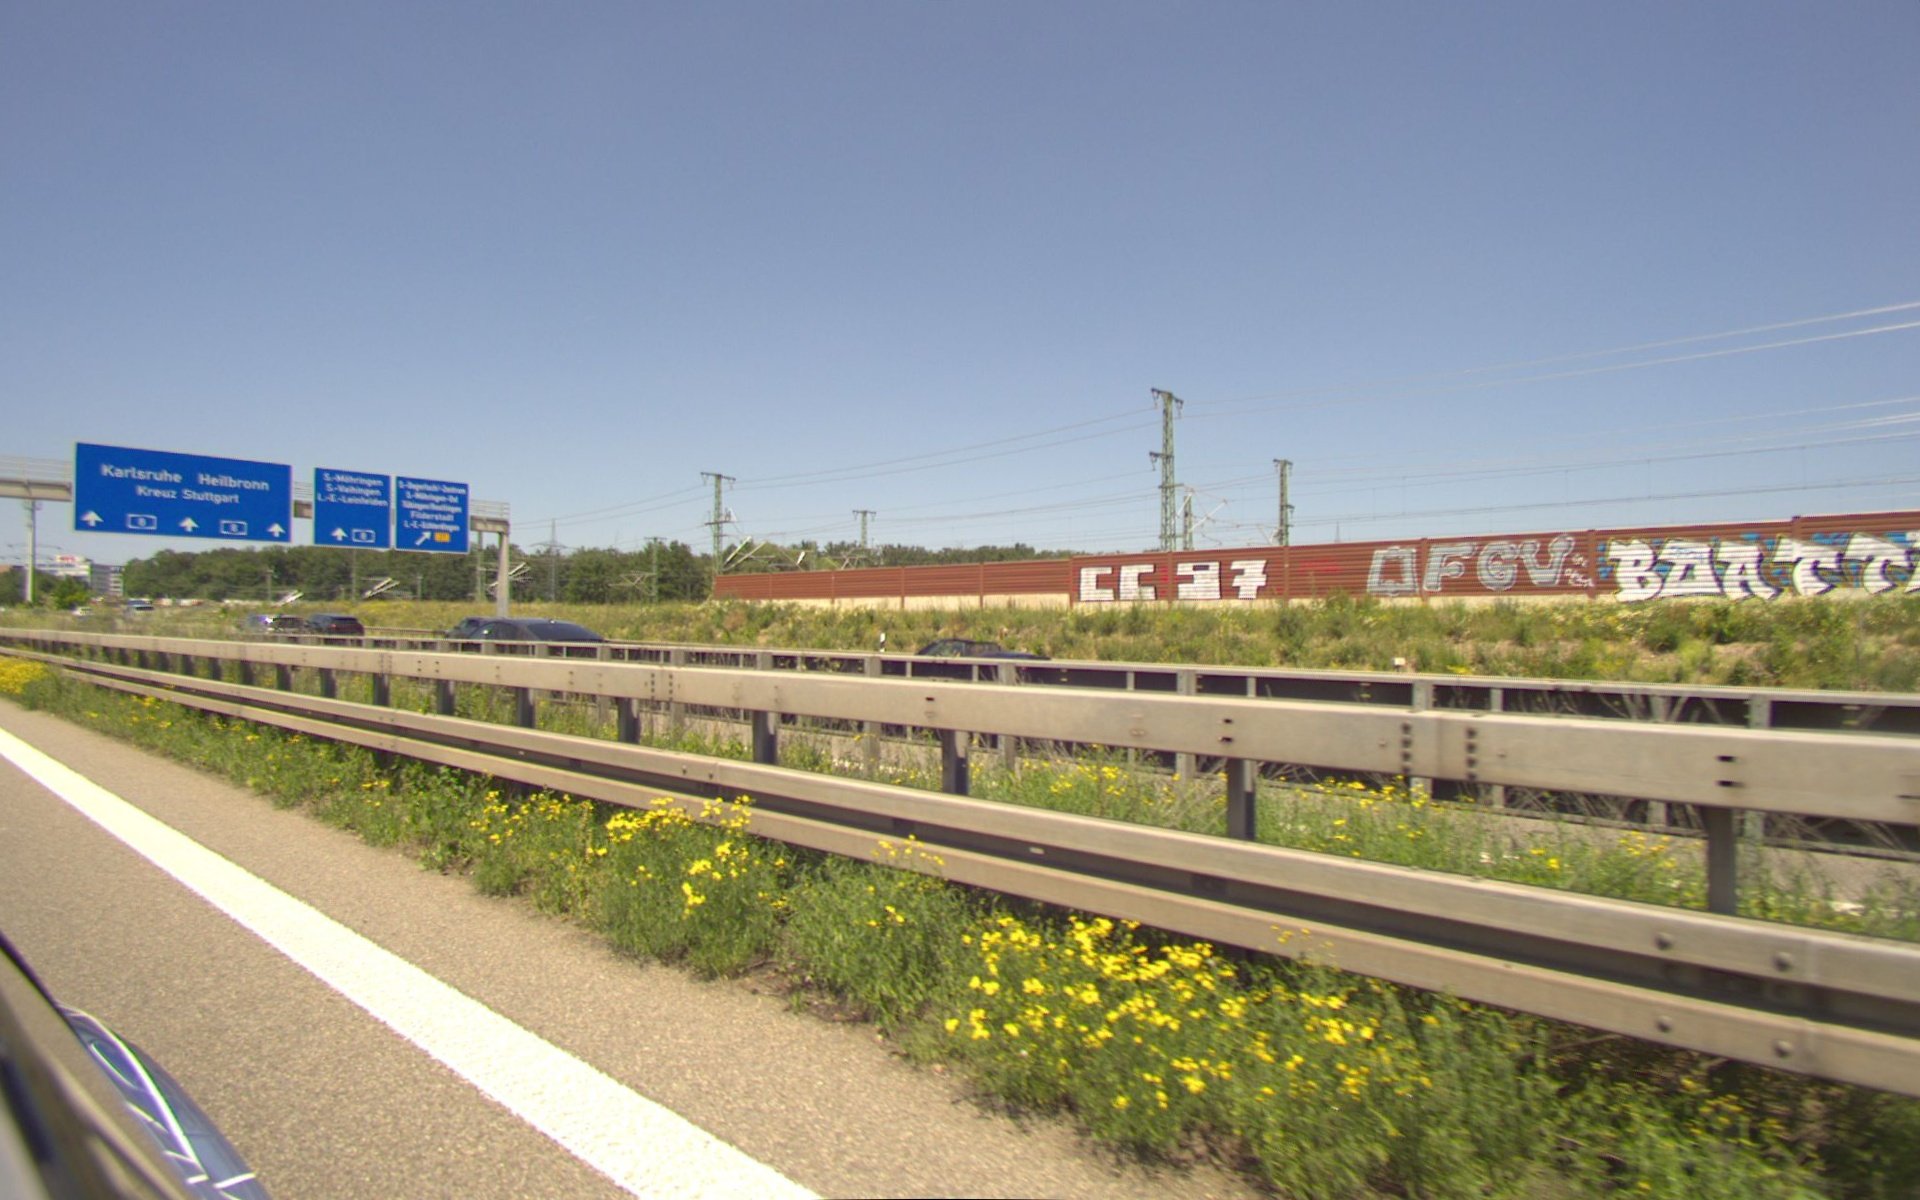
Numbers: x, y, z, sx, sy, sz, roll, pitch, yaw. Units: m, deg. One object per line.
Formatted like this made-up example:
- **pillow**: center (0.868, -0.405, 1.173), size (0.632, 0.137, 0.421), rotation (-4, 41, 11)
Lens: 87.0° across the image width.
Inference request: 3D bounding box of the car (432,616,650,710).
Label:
- **car**: center (-7.611, 1.061, 18.230), size (4.152, 1.498, 1.973), rotation (-1, -3, 41)

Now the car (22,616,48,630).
- **car**: center (-111.768, 2.805, 122.315), size (4.477, 1.588, 1.972), rotation (-1, -1, 43)

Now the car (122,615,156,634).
- **car**: center (-85.458, 2.584, 105.342), size (4.976, 1.900, 1.972), rotation (-1, -1, 42)

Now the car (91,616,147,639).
- **car**: center (-53.431, 1.721, 64.260), size (4.507, 1.405, 1.849), rotation (-1, -1, 39)

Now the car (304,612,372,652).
- **car**: center (-34.184, 1.702, 55.577), size (4.308, 2.029, 1.973), rotation (0, 1, 41)

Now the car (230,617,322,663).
- **car**: center (-26.982, 1.547, 39.871), size (4.186, 1.708, 1.973), rotation (-1, -2, 41)

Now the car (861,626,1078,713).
- **car**: center (0.134, 1.290, 19.835), size (3.929, 1.498, 1.973), rotation (-1, -3, 41)

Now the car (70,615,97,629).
- **car**: center (-109.347, 2.736, 126.188), size (4.475, 1.588, 1.973), rotation (-1, -1, 41)

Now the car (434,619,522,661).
- **car**: center (-21.746, 1.755, 45.579), size (4.511, 1.739, 1.973), rotation (-1, -1, 41)

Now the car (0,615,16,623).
- **car**: center (-153.331, 3.057, 162.597), size (4.160, 1.321, 1.973), rotation (0, -1, 40)
